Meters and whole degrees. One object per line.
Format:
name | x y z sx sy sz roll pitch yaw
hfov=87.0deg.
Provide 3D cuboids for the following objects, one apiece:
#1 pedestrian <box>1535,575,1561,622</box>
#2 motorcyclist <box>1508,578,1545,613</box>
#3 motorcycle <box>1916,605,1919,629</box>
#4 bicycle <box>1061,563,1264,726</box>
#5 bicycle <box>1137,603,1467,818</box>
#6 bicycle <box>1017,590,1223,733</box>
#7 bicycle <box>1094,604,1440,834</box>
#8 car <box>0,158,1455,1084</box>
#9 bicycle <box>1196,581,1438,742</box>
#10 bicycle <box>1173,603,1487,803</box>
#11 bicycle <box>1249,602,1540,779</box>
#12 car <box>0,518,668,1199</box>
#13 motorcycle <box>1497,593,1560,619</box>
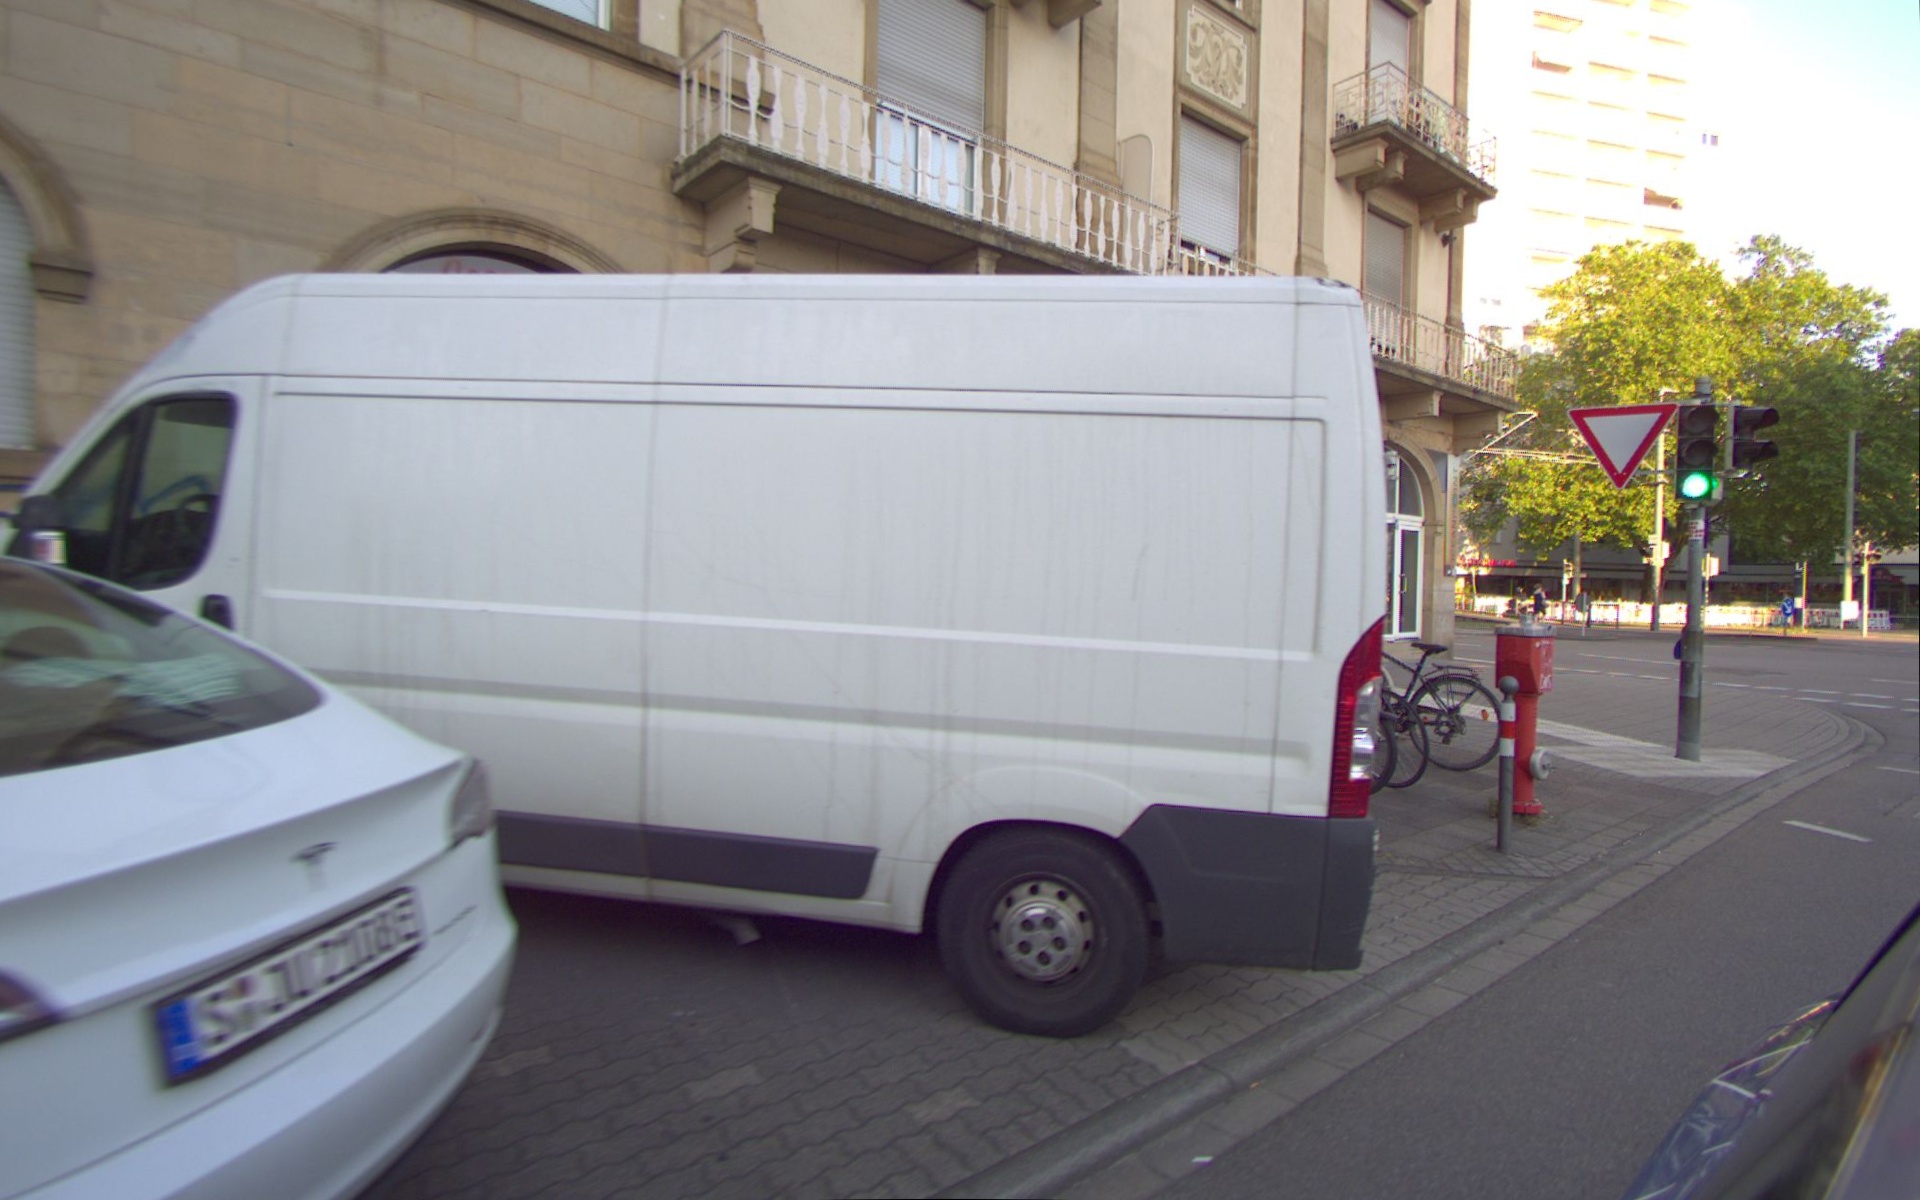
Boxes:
pedestrian | 21.148 -0.061 36.419 0.652 1.677 0.540 1 0 16
motorcyclist | 26.202 -0.200 46.821 0.889 1.574 1.160 1 1 -12
motorcycle | 38.128 0.692 38.625 2.261 0.934 0.617 1 1 25
bicycle | 1.823 0.353 9.342 0.533 1.289 1.774 1 4 -45
bicycle | 2.214 0.650 6.783 1.995 1.101 0.533 6 4 42
bicycle | 1.362 0.488 8.904 0.533 1.022 1.774 1 4 -45
bicycle | 1.848 0.652 6.365 1.995 1.101 0.533 6 4 42
car | -1.367 -0.082 4.394 5.789 2.582 2.191 2 3 10
bicycle | 3.206 0.492 9.286 0.635 1.215 2.001 1 3 -40
bicycle | 2.566 0.652 7.221 1.995 1.101 0.533 6 4 42
bicycle | 3.366 0.641 8.007 1.995 1.101 0.533 6 4 42
car | -3.036 0.537 2.185 4.189 1.471 1.994 2 2 12
motorcycle | 26.221 0.257 46.734 0.890 1.144 2.812 1 1 -12
